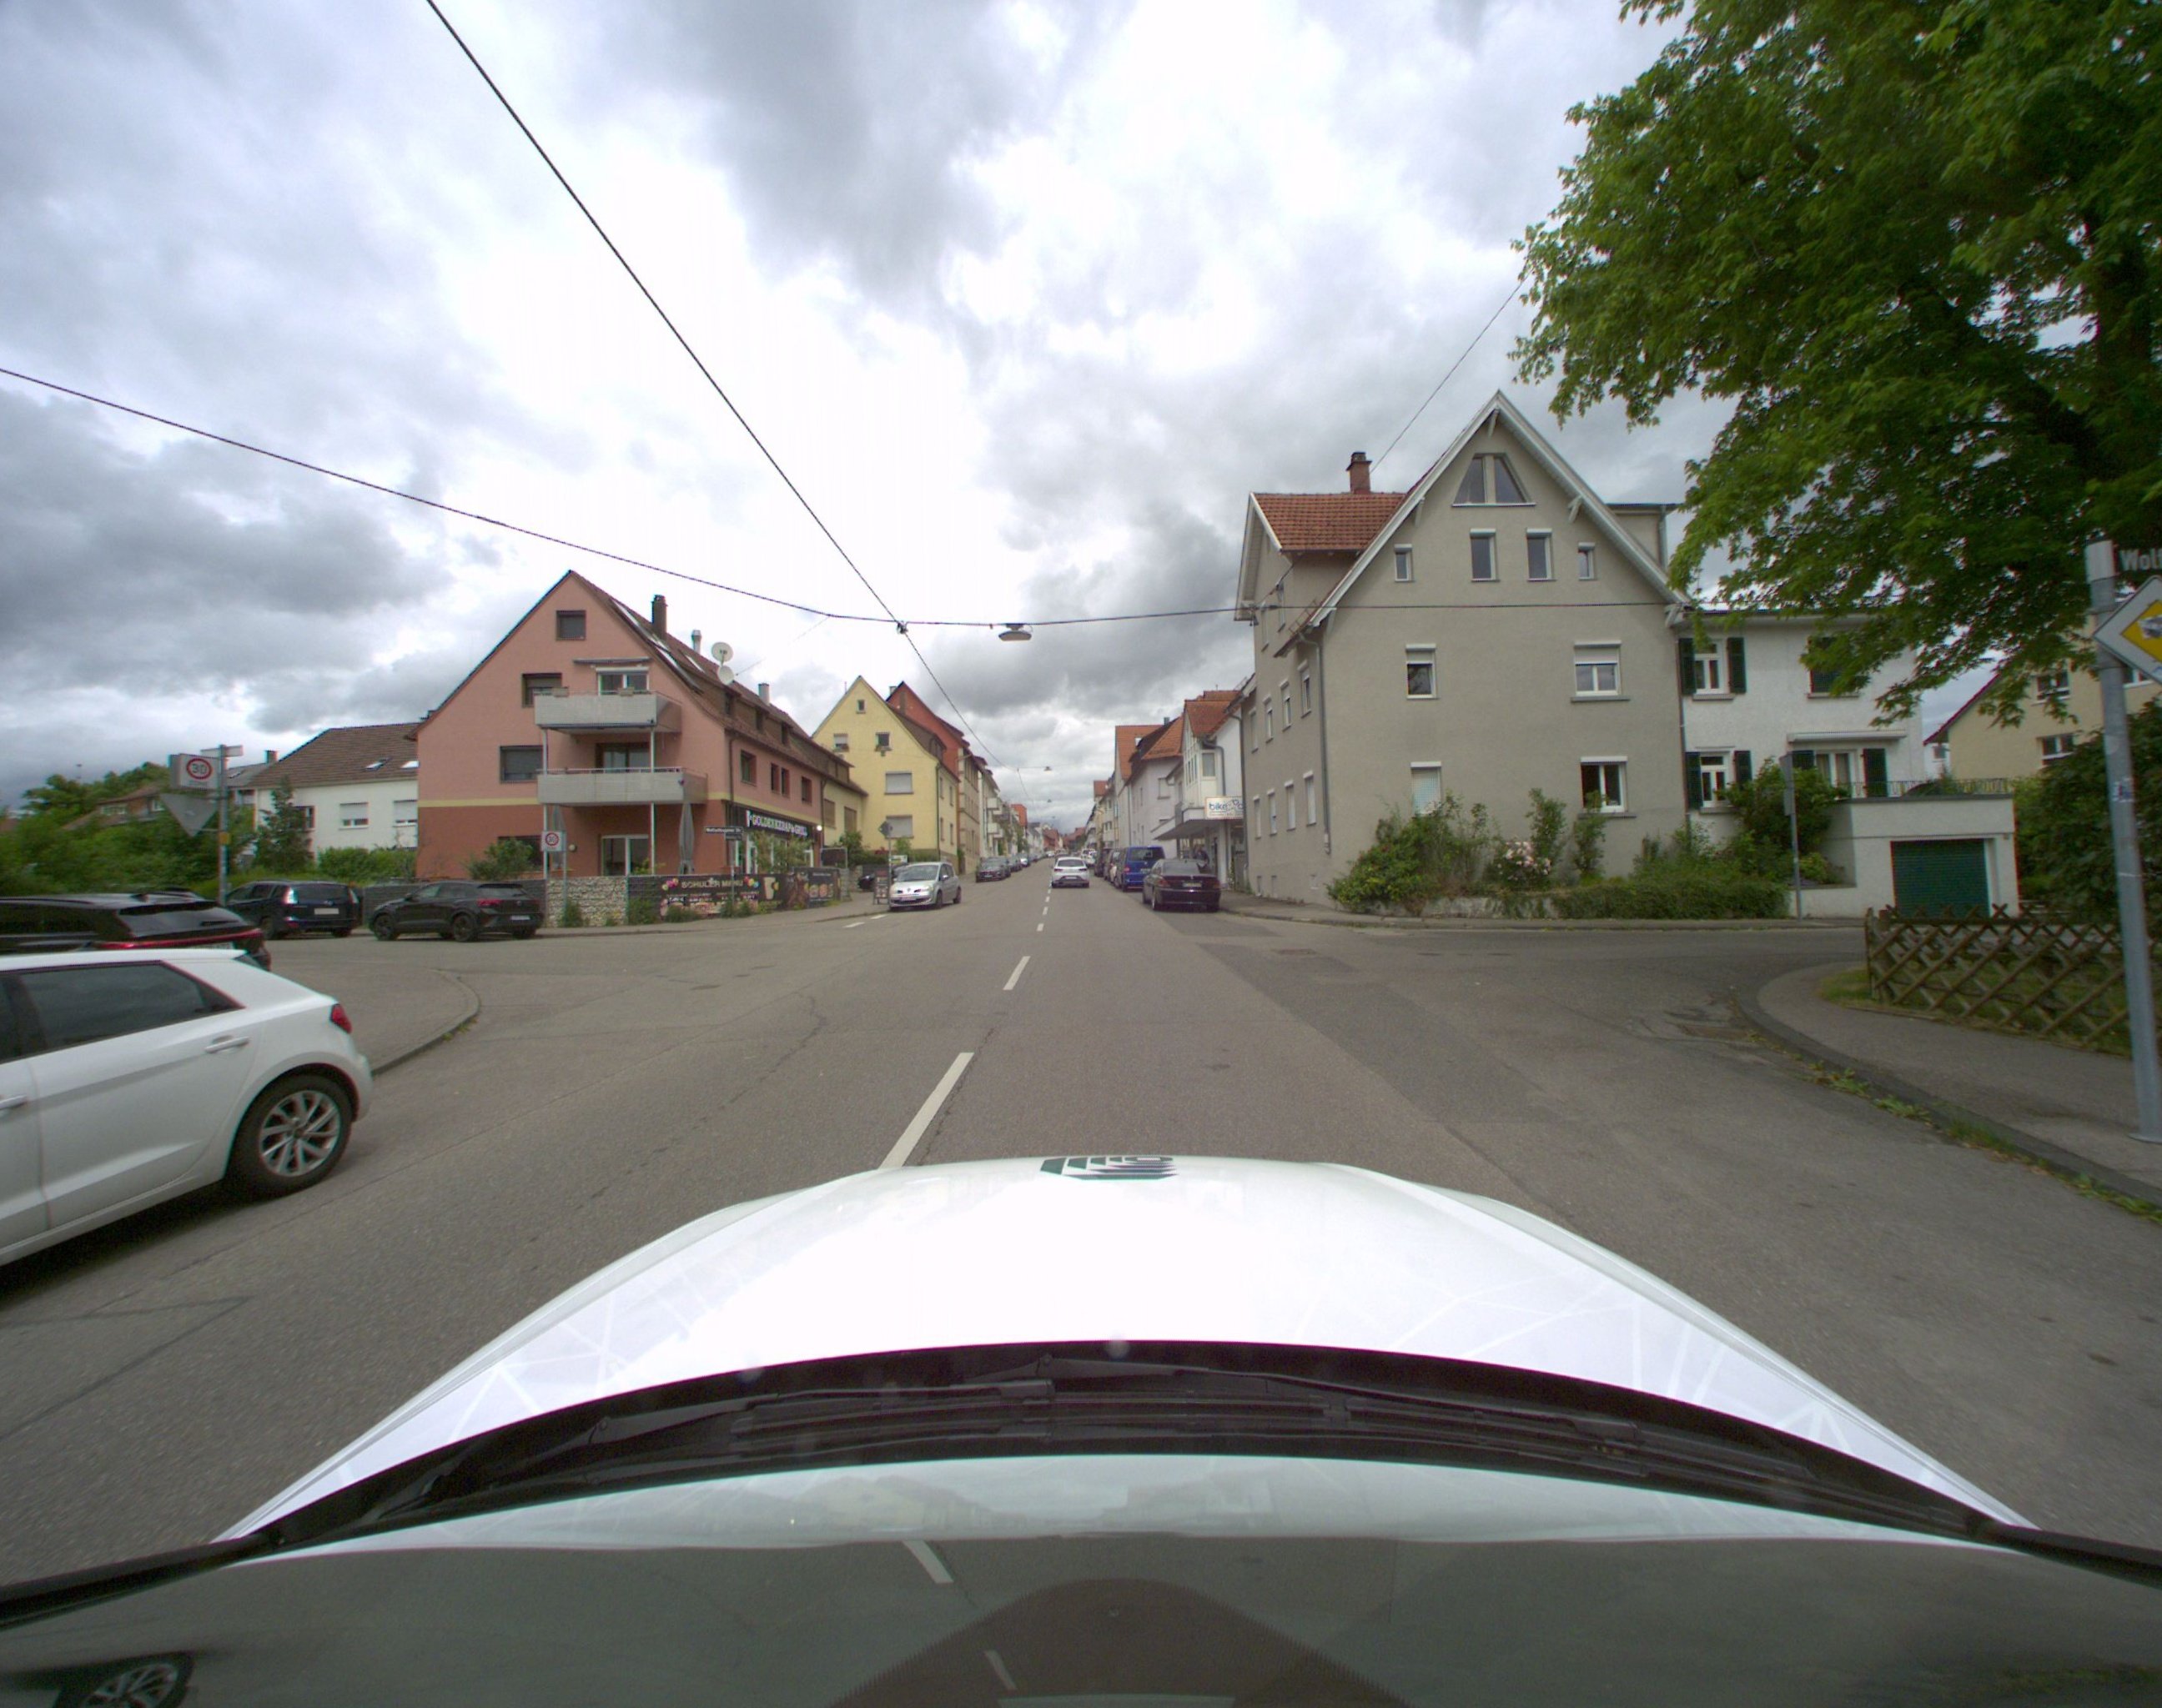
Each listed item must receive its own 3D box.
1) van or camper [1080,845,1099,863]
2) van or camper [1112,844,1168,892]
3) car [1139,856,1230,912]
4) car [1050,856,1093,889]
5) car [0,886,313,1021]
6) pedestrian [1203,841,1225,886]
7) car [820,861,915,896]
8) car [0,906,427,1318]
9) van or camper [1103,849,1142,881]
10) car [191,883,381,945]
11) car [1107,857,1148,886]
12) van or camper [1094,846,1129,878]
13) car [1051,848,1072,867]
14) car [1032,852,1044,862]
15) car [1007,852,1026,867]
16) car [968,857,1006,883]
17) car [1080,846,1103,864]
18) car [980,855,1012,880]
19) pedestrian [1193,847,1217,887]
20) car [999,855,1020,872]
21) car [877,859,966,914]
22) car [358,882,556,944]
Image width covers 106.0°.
[{"bbox_3d":[1.030,-0.002,99.781,1.937,2.054,4.556,-1,0,-4],"label":"van or camper"},{"bbox_3d":[2.519,0.563,35.967,1.922,1.925,4.826,-1,0,-3],"label":"van or camper"},{"bbox_3d":[3.001,0.823,24.642,1.988,1.518,4.887,0,0,-2],"label":"car"},{"bbox_3d":[-0.504,0.838,39.233,1.936,1.439,3.997,-1,0,-2],"label":"car"},{"bbox_3d":[-13.097,1.216,10.527,4.499,1.472,2.002,-1,0,3],"label":"car"},{"bbox_3d":[6.068,0.446,37.201,0.752,2.013,0.623,-2,-1,33],"label":"pedestrian"},{"bbox_3d":[-10.734,1.256,41.148,4.217,1.472,1.998,-3,-3,-2],"label":"car"},{"bbox_3d":[-5.029,1.118,3.136,1.720,1.458,3.898,-5,-1,0],"label":"car"},{"bbox_3d":[2.399,0.612,47.931,1.866,1.829,4.676,0,0,-2],"label":"van or camper"},{"bbox_3d":[-22.178,1.656,22.752,4.368,1.563,2.009,-3,-3,19],"label":"car"},{"bbox_3d":[2.351,0.866,42.227,1.710,1.436,4.635,0,0,-2],"label":"car"},{"bbox_3d":[2.001,0.512,55.572,1.988,2.065,5.940,1,0,-2],"label":"van or camper"},{"bbox_3d":[-2.065,0.352,86.159,2.147,2.014,3.996,0,0,-3],"label":"car"},{"bbox_3d":[-7.370,0.442,140.590,1.988,1.651,4.176,-2,0,-2],"label":"car"},{"bbox_3d":[-7.609,0.601,96.992,1.988,1.651,3.997,-2,0,-2],"label":"car"},{"bbox_3d":[-6.238,1.045,54.740,1.988,1.472,4.242,-5,0,-1],"label":"car"},{"bbox_3d":[0.938,0.071,77.446,1.936,1.693,3.996,1,0,-3],"label":"car"},{"bbox_3d":[-6.327,0.966,60.844,1.989,1.650,4.549,-5,0,-3],"label":"car"},{"bbox_3d":[5.478,0.576,35.997,0.862,1.725,0.623,-2,0,33],"label":"pedestrian"},{"bbox_3d":[-6.668,0.854,76.270,1.638,1.473,4.176,-4,0,-2],"label":"car"},{"bbox_3d":[-5.425,1.060,28.223,1.825,1.578,4.037,-5,0,5],"label":"car"},{"bbox_3d":[-16.299,1.535,21.331,4.368,1.472,2.009,-3,-3,19],"label":"car"}]
